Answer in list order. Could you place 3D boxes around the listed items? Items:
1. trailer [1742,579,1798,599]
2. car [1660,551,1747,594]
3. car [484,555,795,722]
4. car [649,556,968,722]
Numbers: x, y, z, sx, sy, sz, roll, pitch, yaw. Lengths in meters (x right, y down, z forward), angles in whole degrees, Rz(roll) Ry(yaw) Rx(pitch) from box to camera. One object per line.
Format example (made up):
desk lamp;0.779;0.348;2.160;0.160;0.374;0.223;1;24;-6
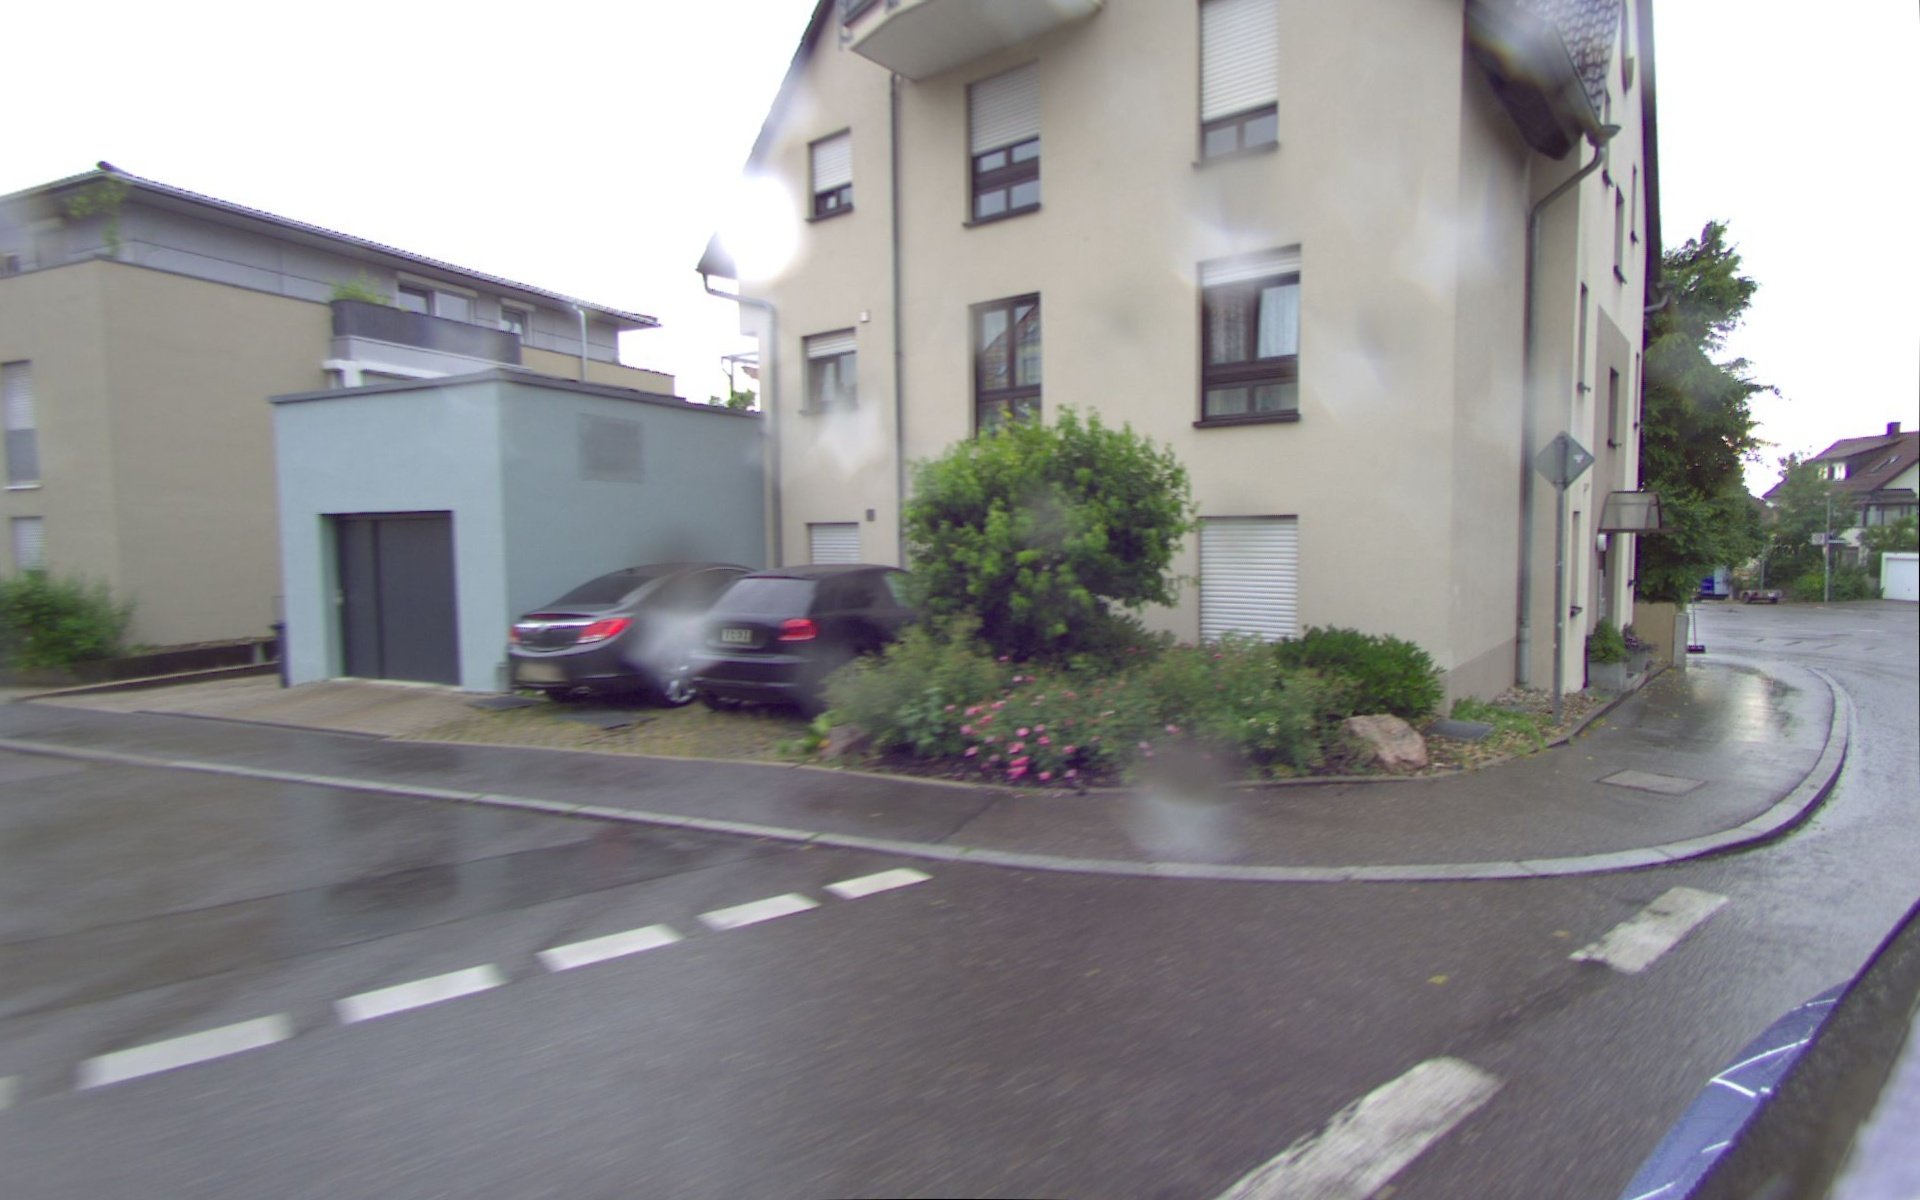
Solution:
trailer;46.243;-0.635;57.831;1.573;1.019;2.805;-3;1;20
car;47.578;-1.760;64.958;2.158;2.554;6.230;-2;2;14
car;-3.390;0.317;11.142;1.591;1.558;2.963;-1;2;28
car;-1.397;0.290;10.255;1.758;1.389;2.963;-1;2;28
